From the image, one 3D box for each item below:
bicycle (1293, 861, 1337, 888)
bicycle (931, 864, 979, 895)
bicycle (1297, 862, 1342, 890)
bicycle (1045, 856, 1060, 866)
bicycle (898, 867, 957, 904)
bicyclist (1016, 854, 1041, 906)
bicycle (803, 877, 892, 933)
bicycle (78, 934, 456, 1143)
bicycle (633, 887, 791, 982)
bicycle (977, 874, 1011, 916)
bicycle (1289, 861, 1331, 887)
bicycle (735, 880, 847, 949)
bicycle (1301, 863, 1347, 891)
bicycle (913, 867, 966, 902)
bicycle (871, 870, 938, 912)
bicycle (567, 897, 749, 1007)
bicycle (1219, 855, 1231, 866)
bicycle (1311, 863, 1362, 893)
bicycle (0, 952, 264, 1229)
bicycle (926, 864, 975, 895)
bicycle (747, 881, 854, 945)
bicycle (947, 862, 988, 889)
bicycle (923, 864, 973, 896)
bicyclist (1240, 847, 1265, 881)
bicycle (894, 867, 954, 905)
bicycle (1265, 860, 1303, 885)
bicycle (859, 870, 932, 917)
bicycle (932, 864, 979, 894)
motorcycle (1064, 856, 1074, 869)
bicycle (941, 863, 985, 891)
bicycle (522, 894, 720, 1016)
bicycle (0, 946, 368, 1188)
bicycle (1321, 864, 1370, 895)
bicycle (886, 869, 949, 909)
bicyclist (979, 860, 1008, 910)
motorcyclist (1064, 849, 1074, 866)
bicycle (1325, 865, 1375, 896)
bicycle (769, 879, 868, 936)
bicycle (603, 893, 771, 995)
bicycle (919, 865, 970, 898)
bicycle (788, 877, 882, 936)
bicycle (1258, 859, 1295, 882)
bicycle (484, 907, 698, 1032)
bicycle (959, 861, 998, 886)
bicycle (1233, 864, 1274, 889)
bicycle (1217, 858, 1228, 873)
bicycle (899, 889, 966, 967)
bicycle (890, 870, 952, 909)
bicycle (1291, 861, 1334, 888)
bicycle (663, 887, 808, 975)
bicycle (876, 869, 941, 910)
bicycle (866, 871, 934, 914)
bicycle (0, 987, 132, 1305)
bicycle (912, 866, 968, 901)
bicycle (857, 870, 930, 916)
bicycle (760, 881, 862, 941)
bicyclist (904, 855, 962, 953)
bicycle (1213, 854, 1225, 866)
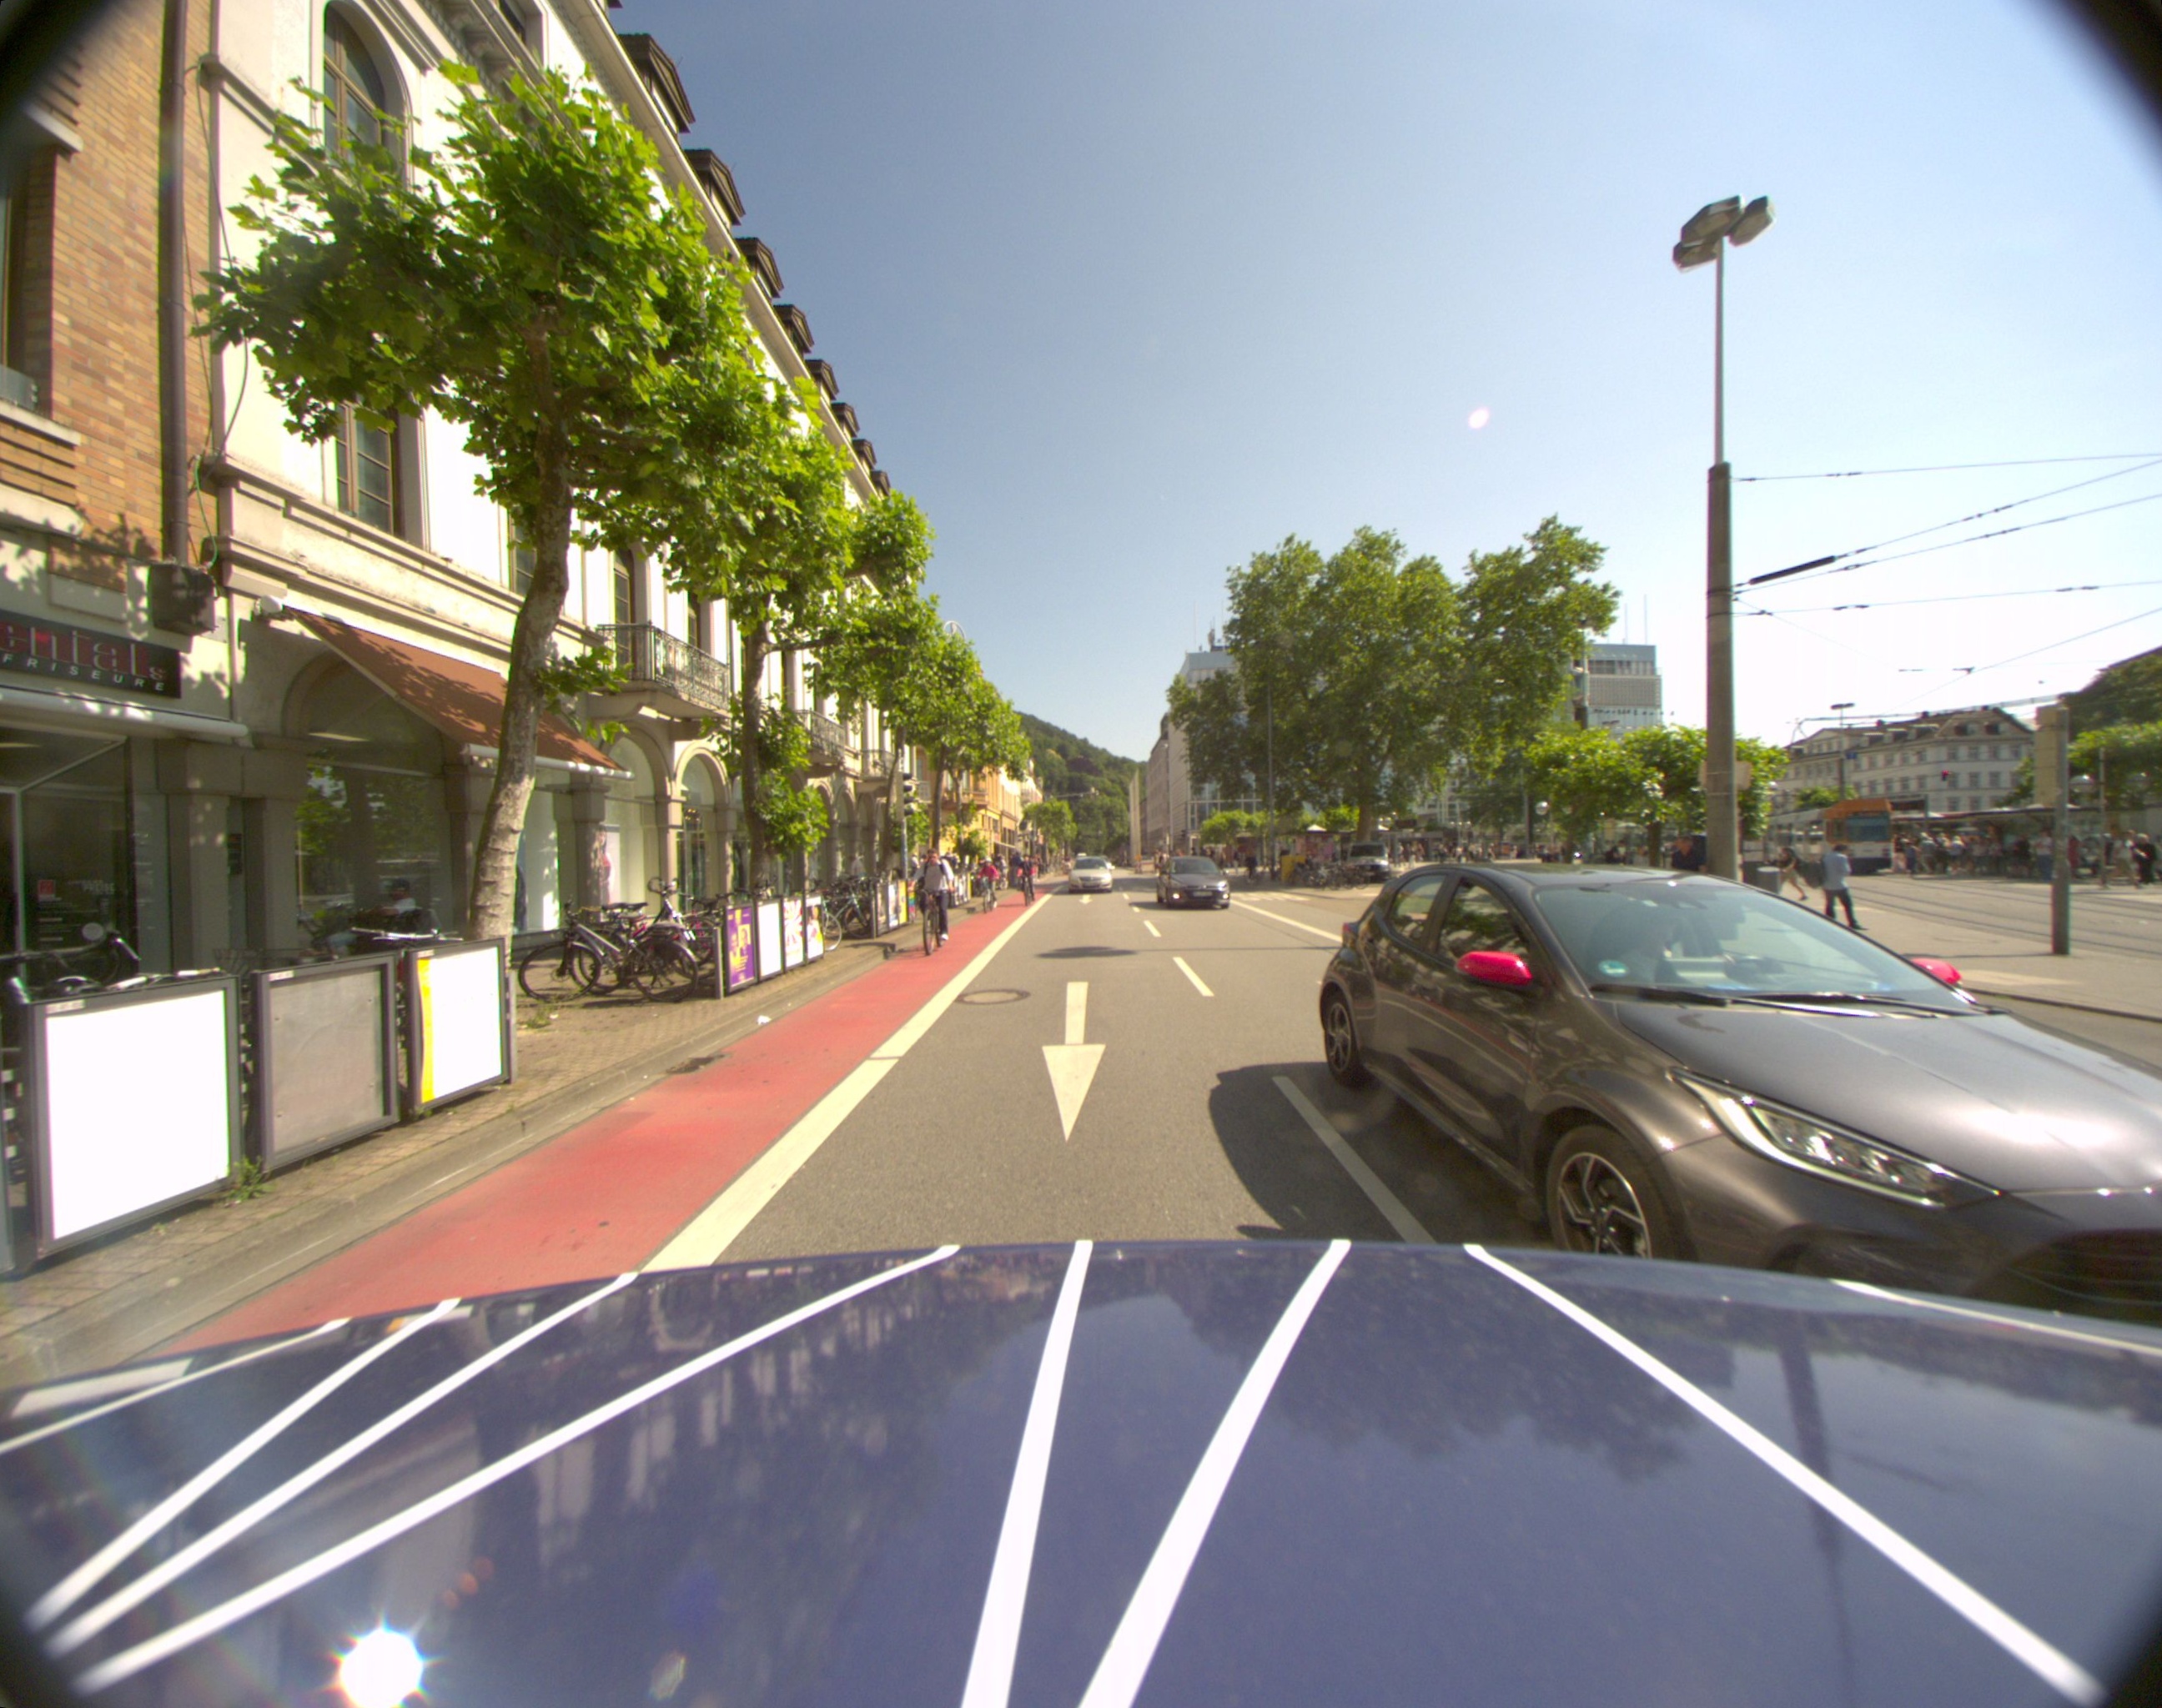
[{"bbox_3d":[10.205,0.884,33.122,1.757,1.140,0.483,-1,1,-1],"label":"bicycle"},{"bbox_3d":[-4.927,0.981,29.795,1.757,1.140,0.592,-1,1,-1],"label":"bicycle"},{"bbox_3d":[10.204,0.949,32.531,1.757,1.140,0.483,-1,1,-1],"label":"bicycle"},{"bbox_3d":[-3.287,0.812,87.422,1.757,1.140,0.592,-1,1,-1],"label":"bicycle"},{"bbox_3d":[-4.980,1.008,24.703,1.757,1.140,0.592,-1,1,-1],"label":"bicycle"},{"bbox_3d":[-1.655,0.810,24.122,0.690,1.567,0.778,-3,1,-2],"label":"bicyclist"},{"bbox_3d":[-5.084,1.097,16.581,1.757,1.140,0.483,-1,1,-1],"label":"bicycle"},{"bbox_3d":[-5.026,1.117,4.757,1.757,1.140,0.499,-1,1,-1],"label":"bicycle"},{"bbox_3d":[-4.789,1.039,9.928,1.757,1.140,0.527,-1,1,-1],"label":"bicycle"},{"bbox_3d":[-2.470,1.155,21.707,0.736,1.086,1.819,-2,0,-1],"label":"bicycle"},{"bbox_3d":[10.355,0.903,34.424,1.757,1.140,0.483,-1,1,-1],"label":"bicycle"},{"bbox_3d":[-5.131,1.060,13.492,1.757,1.140,0.483,-1,1,-1],"label":"bicycle"},{"bbox_3d":[10.155,0.953,31.789,1.757,1.140,0.483,-1,1,-1],"label":"bicycle"},{"bbox_3d":[-4.910,1.053,26.389,1.707,1.140,0.519,-1,1,-1],"label":"bicycle"},{"bbox_3d":[-5.028,1.050,21.701,1.757,1.140,0.483,-1,1,-1],"label":"bicycle"},{"bbox_3d":[-4.774,1.097,8.636,1.757,1.140,0.483,-1,1,-1],"label":"bicycle"},{"bbox_3d":[14.317,0.643,75.646,0.592,1.140,1.757,-1,0,-7],"label":"bicycle"},{"bbox_3d":[10.318,0.960,30.703,1.865,1.140,0.483,-1,1,-1],"label":"bicycle"},{"bbox_3d":[-5.013,1.083,3.568,1.757,1.140,0.483,-1,1,-1],"label":"bicycle"},{"bbox_3d":[-4.994,0.984,29.161,1.757,1.140,0.592,-1,1,-1],"label":"bicycle"},{"bbox_3d":[-5.156,1.083,14.021,1.757,1.099,0.483,-1,1,-1],"label":"bicycle"},{"bbox_3d":[-5.084,0.961,34.152,1.757,1.140,0.592,-1,1,-1],"label":"bicycle"},{"bbox_3d":[-4.963,0.974,28.487,1.757,1.140,0.592,-1,1,-1],"label":"bicycle"},{"bbox_3d":[7.874,0.441,34.911,0.831,1.489,1.161,-3,1,2],"label":"bicyclist"},{"bbox_3d":[-4.943,1.010,24.008,1.757,1.140,0.592,-1,1,-1],"label":"bicycle"},{"bbox_3d":[10.012,0.912,37.525,1.757,1.140,0.483,-1,1,-1],"label":"bicycle"},{"bbox_3d":[-4.994,1.051,20.503,1.804,1.187,0.483,-1,1,-1],"label":"bicycle"},{"bbox_3d":[-5.018,0.978,30.493,1.757,1.140,0.592,-1,1,-1],"label":"bicycle"},{"bbox_3d":[-0.998,0.739,65.461,0.736,1.086,1.898,-3,0,1],"label":"motorcycle"},{"bbox_3d":[-5.054,0.968,32.674,1.757,1.140,0.592,-1,1,-1],"label":"bicycle"},{"bbox_3d":[-4.842,1.052,8.054,1.757,1.180,0.483,-1,1,-1],"label":"bicycle"},{"bbox_3d":[-5.010,1.121,4.125,1.757,1.140,0.483,-1,1,-1],"label":"bicycle"},{"bbox_3d":[10.354,0.985,29.753,1.757,1.140,0.483,-1,1,-1],"label":"bicycle"},{"bbox_3d":[-4.923,1.054,22.947,1.757,1.140,0.483,-1,1,-1],"label":"bicycle"},{"bbox_3d":[-2.495,0.873,21.735,0.690,1.388,0.778,-3,1,-1],"label":"bicyclist"},{"bbox_3d":[-1.010,0.328,65.561,0.736,1.446,0.707,-3,1,1],"label":"motorcyclist"},{"bbox_3d":[10.374,1.003,29.360,1.757,1.140,0.483,-1,1,-1],"label":"bicycle"},{"bbox_3d":[-5.177,1.053,15.042,1.757,1.062,0.483,-1,1,-1],"label":"bicycle"},{"bbox_3d":[-4.799,1.083,9.304,1.757,1.140,0.483,-1,1,-1],"label":"bicycle"},{"bbox_3d":[-4.975,0.991,27.758,1.757,1.140,0.592,-1,1,-1],"label":"bicycle"},{"bbox_3d":[-5.098,1.082,15.781,1.757,1.140,0.483,-1,1,-1],"label":"bicycle"},{"bbox_3d":[10.038,0.860,39.016,1.757,1.140,0.483,-1,1,-1],"label":"bicycle"},{"bbox_3d":[-4.810,1.121,7.518,1.757,1.117,0.483,-1,1,-1],"label":"bicycle"},{"bbox_3d":[-4.951,0.946,36.723,1.757,1.140,0.592,-1,1,-1],"label":"bicycle"},{"bbox_3d":[7.881,1.011,34.875,0.831,1.017,2.624,-3,0,-10],"label":"bicycle"},{"bbox_3d":[11.900,0.968,63.932,0.729,1.137,1.914,-3,1,14],"label":"bicycle"},{"bbox_3d":[-2.470,1.210,12.871,0.736,1.086,1.897,-3,0,-1],"label":"bicycle"},{"bbox_3d":[-4.932,1.083,23.467,1.757,1.140,0.483,-1,1,-1],"label":"bicycle"},{"bbox_3d":[10.265,0.910,33.707,1.757,1.140,0.483,-1,1,-1],"label":"bicycle"},{"bbox_3d":[-4.780,1.058,10.566,1.757,1.140,0.483,-1,1,-1],"label":"bicycle"},{"bbox_3d":[-5.047,1.024,22.315,1.757,1.140,0.483,-1,1,-1],"label":"bicycle"},{"bbox_3d":[-5.008,1.068,21.100,1.757,1.140,0.483,-1,1,-1],"label":"bicycle"},{"bbox_3d":[-5.017,1.169,3.037,1.757,1.140,0.483,-1,1,-1],"label":"bicycle"},{"bbox_3d":[-4.770,0.992,25.793,1.757,1.140,0.592,-1,1,-1],"label":"bicycle"},{"bbox_3d":[-4.924,1.021,19.975,1.778,1.140,0.483,-1,1,-1],"label":"bicycle"},{"bbox_3d":[-5.152,1.080,14.542,1.757,1.081,0.483,-1,1,-1],"label":"bicycle"},{"bbox_3d":[-2.476,0.815,12.792,0.750,1.567,0.778,-3,1,0],"label":"bicyclist"},{"bbox_3d":[13.702,0.563,75.555,0.592,1.140,1.757,-1,0,-7],"label":"bicycle"}]
